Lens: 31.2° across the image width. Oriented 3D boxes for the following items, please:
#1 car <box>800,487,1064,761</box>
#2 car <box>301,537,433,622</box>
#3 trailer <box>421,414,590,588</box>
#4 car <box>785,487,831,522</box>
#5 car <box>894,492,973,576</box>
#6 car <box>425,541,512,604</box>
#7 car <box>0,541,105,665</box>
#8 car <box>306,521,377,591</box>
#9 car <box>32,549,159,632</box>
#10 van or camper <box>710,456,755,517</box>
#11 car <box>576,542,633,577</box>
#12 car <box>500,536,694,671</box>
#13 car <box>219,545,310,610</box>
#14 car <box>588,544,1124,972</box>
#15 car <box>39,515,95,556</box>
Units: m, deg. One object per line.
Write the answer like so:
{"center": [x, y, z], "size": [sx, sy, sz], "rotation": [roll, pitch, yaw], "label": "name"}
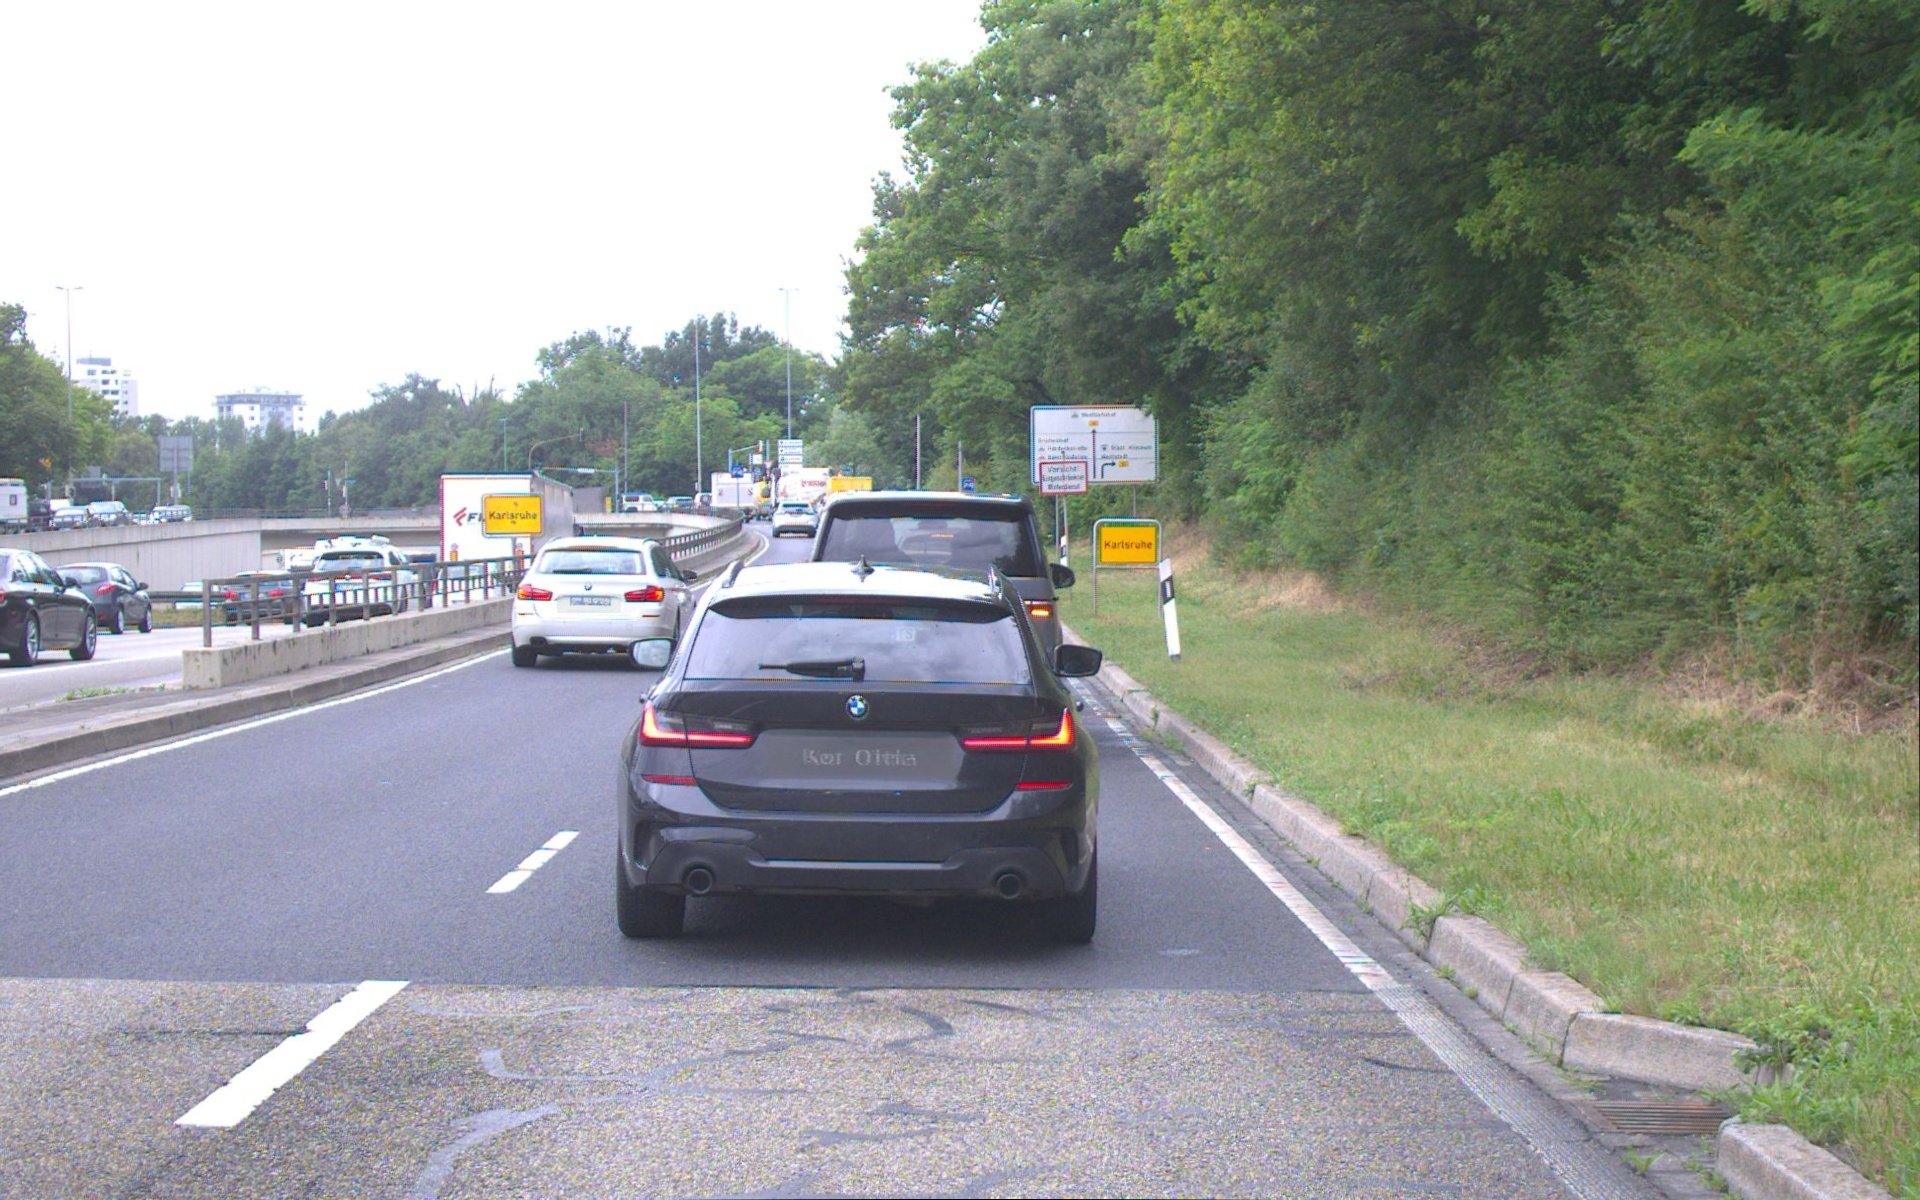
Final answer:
{"center": [-0.202, 0.131, 25.545], "size": [1.796, 1.865, 4.000], "rotation": [0, 1, 0], "label": "car"}
{"center": [-12.134, -0.455, 70.609], "size": [1.946, 1.686, 4.507], "rotation": [0, 1, 0], "label": "car"}
{"center": [-13.219, -2.816, 101.318], "size": [3.132, 4.709, 14.559], "rotation": [1, 1, -1], "label": "trailer"}
{"center": [-7.009, -4.417, 158.766], "size": [1.931, 1.590, 3.877], "rotation": [0, 1, 1], "label": "car"}
{"center": [-0.508, -1.248, 65.150], "size": [1.452, 1.535, 3.225], "rotation": [0, 1, 0], "label": "car"}
{"center": [-12.315, -0.707, 86.341], "size": [1.768, 1.544, 3.493], "rotation": [0, 1, -2], "label": "car"}
{"center": [-12.194, -0.008, 43.204], "size": [1.712, 1.452, 4.666], "rotation": [1, 1, 0], "label": "car"}
{"center": [-18.429, -1.328, 102.521], "size": [1.443, 2.037, 3.680], "rotation": [0, 1, 0], "label": "car"}
{"center": [-17.786, -0.214, 70.865], "size": [1.687, 1.602, 4.008], "rotation": [1, 1, -2], "label": "car"}
{"center": [-10.566, -5.260, 159.907], "size": [1.993, 2.811, 4.001], "rotation": [0, 1, -3], "label": "van or camper"}
{"center": [-21.000, -2.389, 202.830], "size": [3.202, 2.021, 5.077], "rotation": [0, 1, -8], "label": "car"}
{"center": [-4.171, -0.005, 40.199], "size": [1.859, 1.459, 4.885], "rotation": [1, 1, -1], "label": "car"}
{"center": [-18.118, -0.603, 89.691], "size": [1.687, 1.626, 3.735], "rotation": [1, 1, -2], "label": "car"}
{"center": [-0.437, 0.521, 14.007], "size": [1.846, 1.461, 4.001], "rotation": [1, 1, -2], "label": "car"}
{"center": [-40.980, -2.964, 157.846], "size": [1.655, 1.830, 3.622], "rotation": [0, 1, 0], "label": "car"}
